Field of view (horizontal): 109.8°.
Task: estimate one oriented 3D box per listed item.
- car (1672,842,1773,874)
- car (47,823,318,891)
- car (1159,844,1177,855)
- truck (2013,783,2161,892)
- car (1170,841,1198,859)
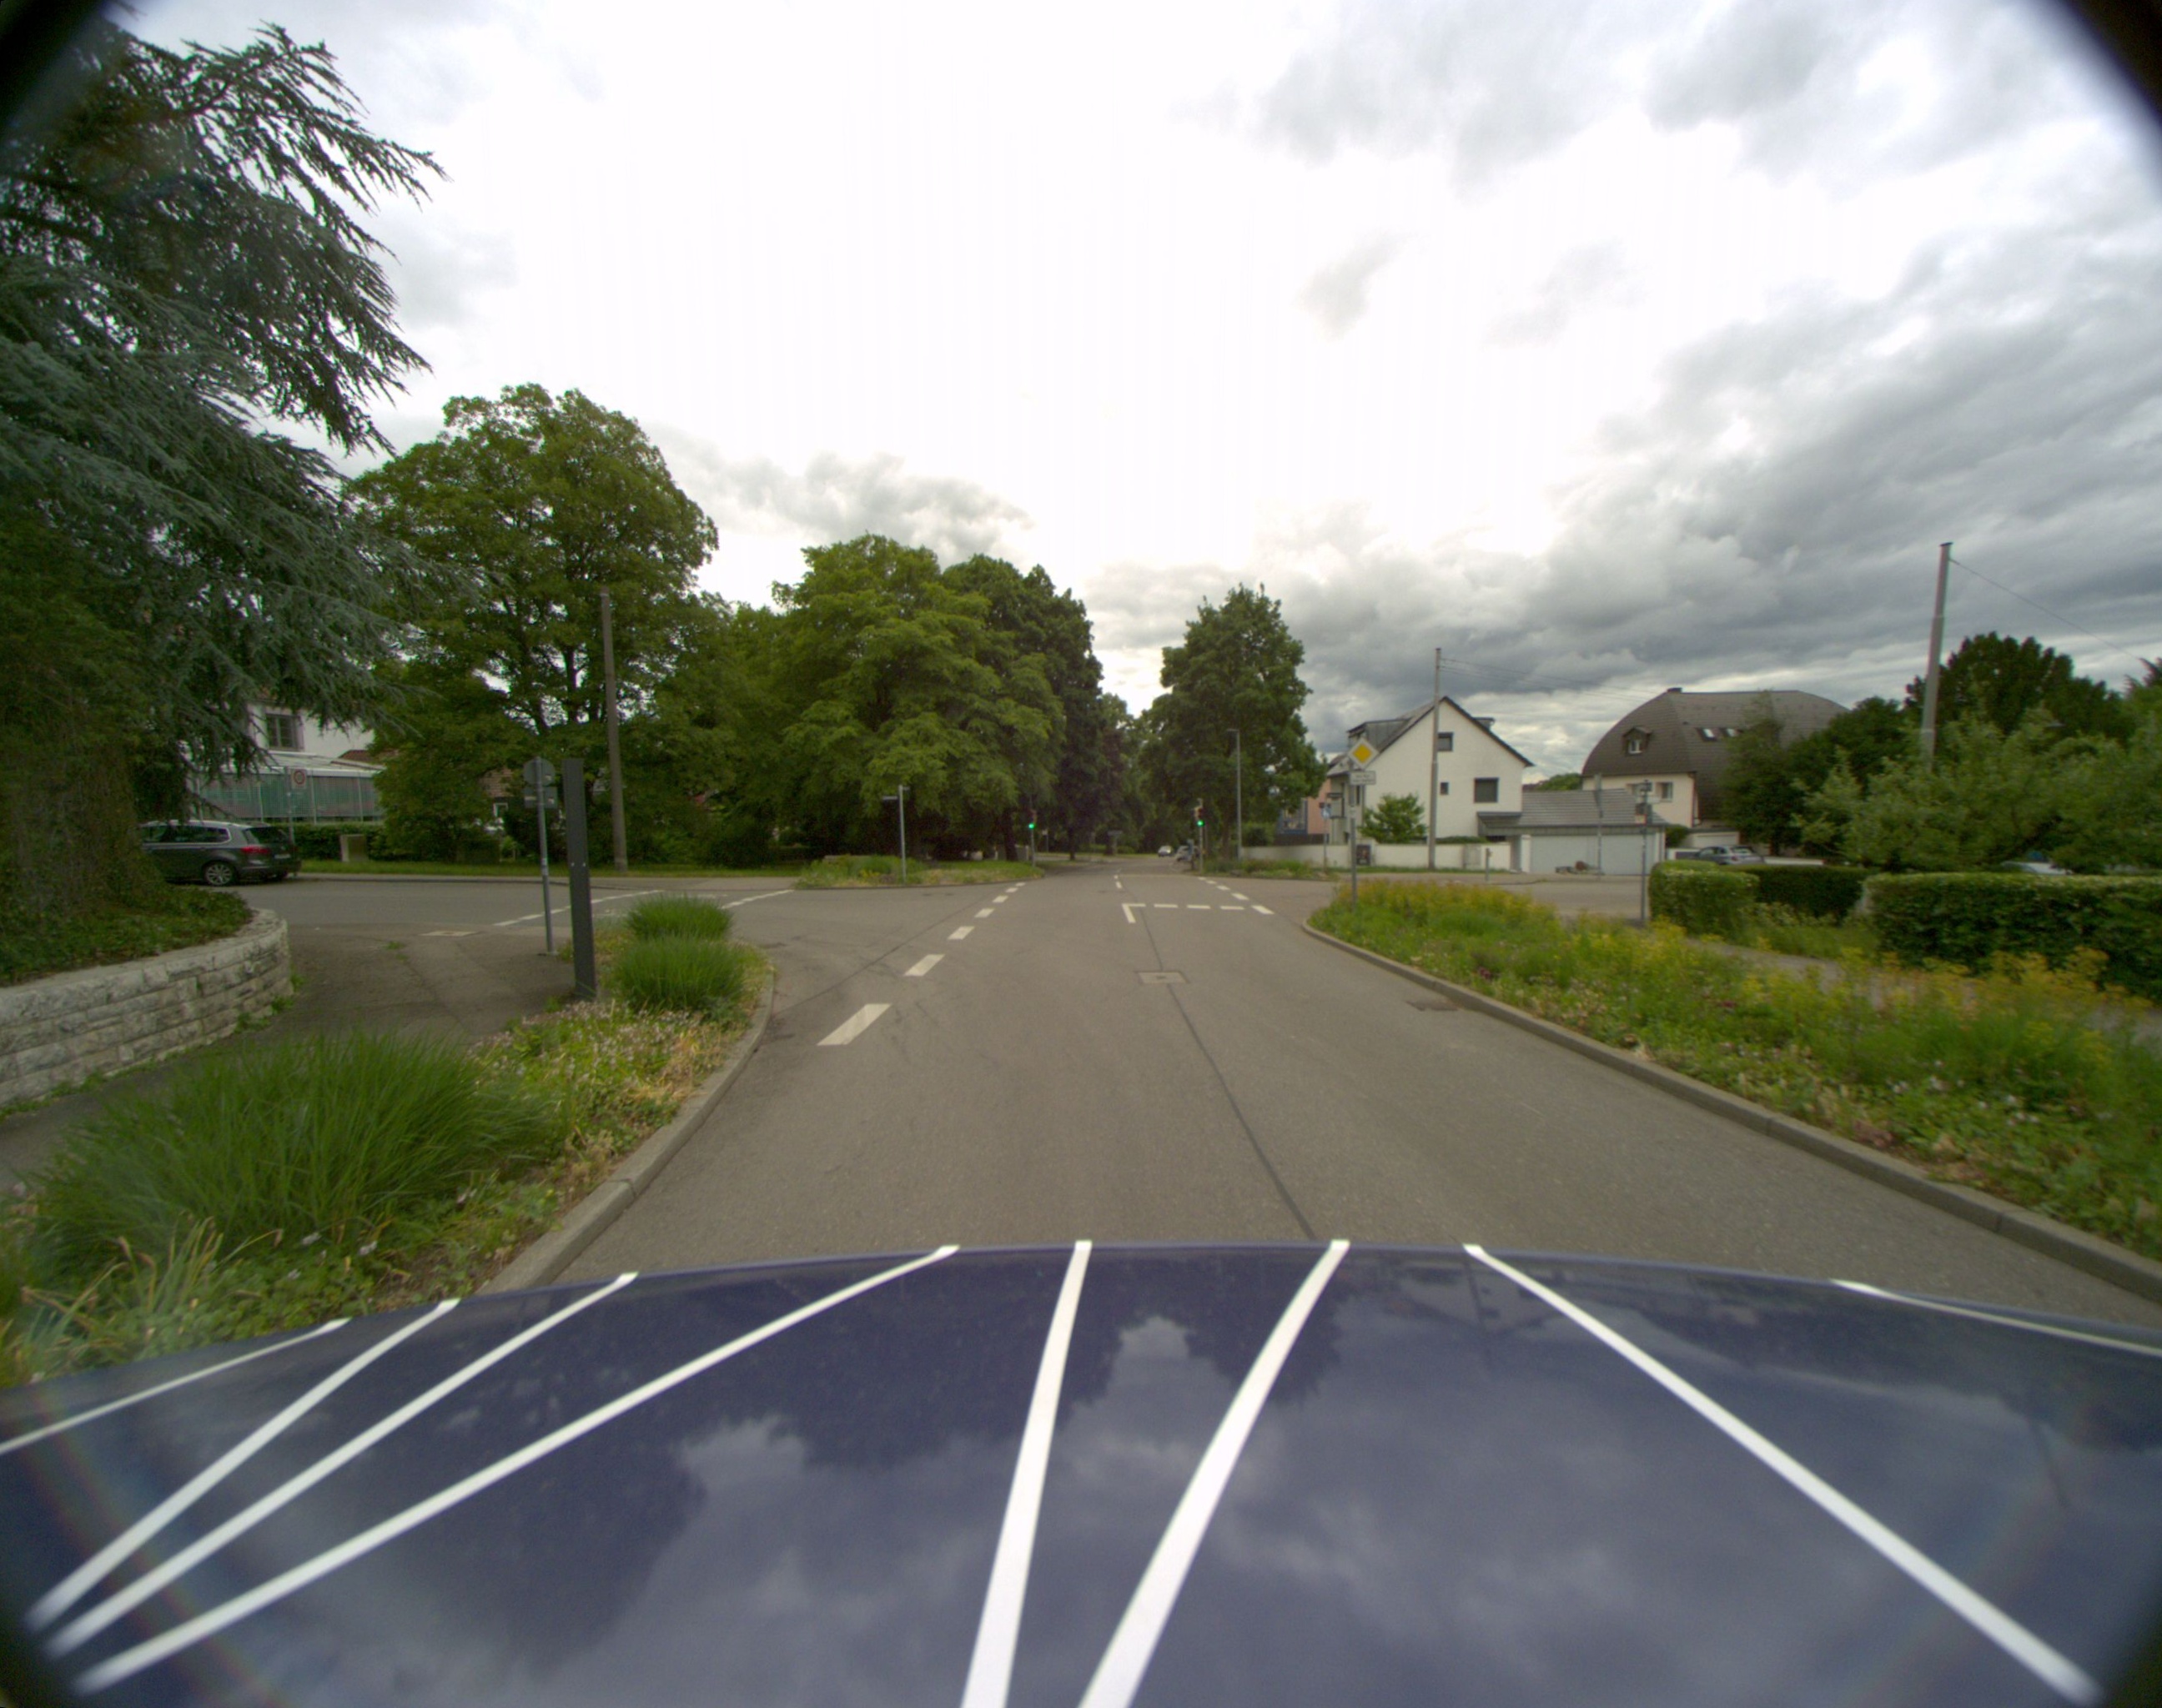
[{"bbox_3d":[30.913,0.211,36.786,1.691,1.488,3.860,0,-1,2],"label":"car"},{"bbox_3d":[-22.078,0.045,18.879,4.002,1.528,1.820,0,4,-13],"label":"car"},{"bbox_3d":[11.957,-0.644,104.103,1.566,1.504,3.402,1,1,23],"label":"car"},{"bbox_3d":[46.984,-0.744,34.088,7.957,4.528,3.149,0,4,-14],"label":"truck"},{"bbox_3d":[10.070,-0.461,74.291,1.995,1.544,4.004,2,3,18],"label":"car"}]
